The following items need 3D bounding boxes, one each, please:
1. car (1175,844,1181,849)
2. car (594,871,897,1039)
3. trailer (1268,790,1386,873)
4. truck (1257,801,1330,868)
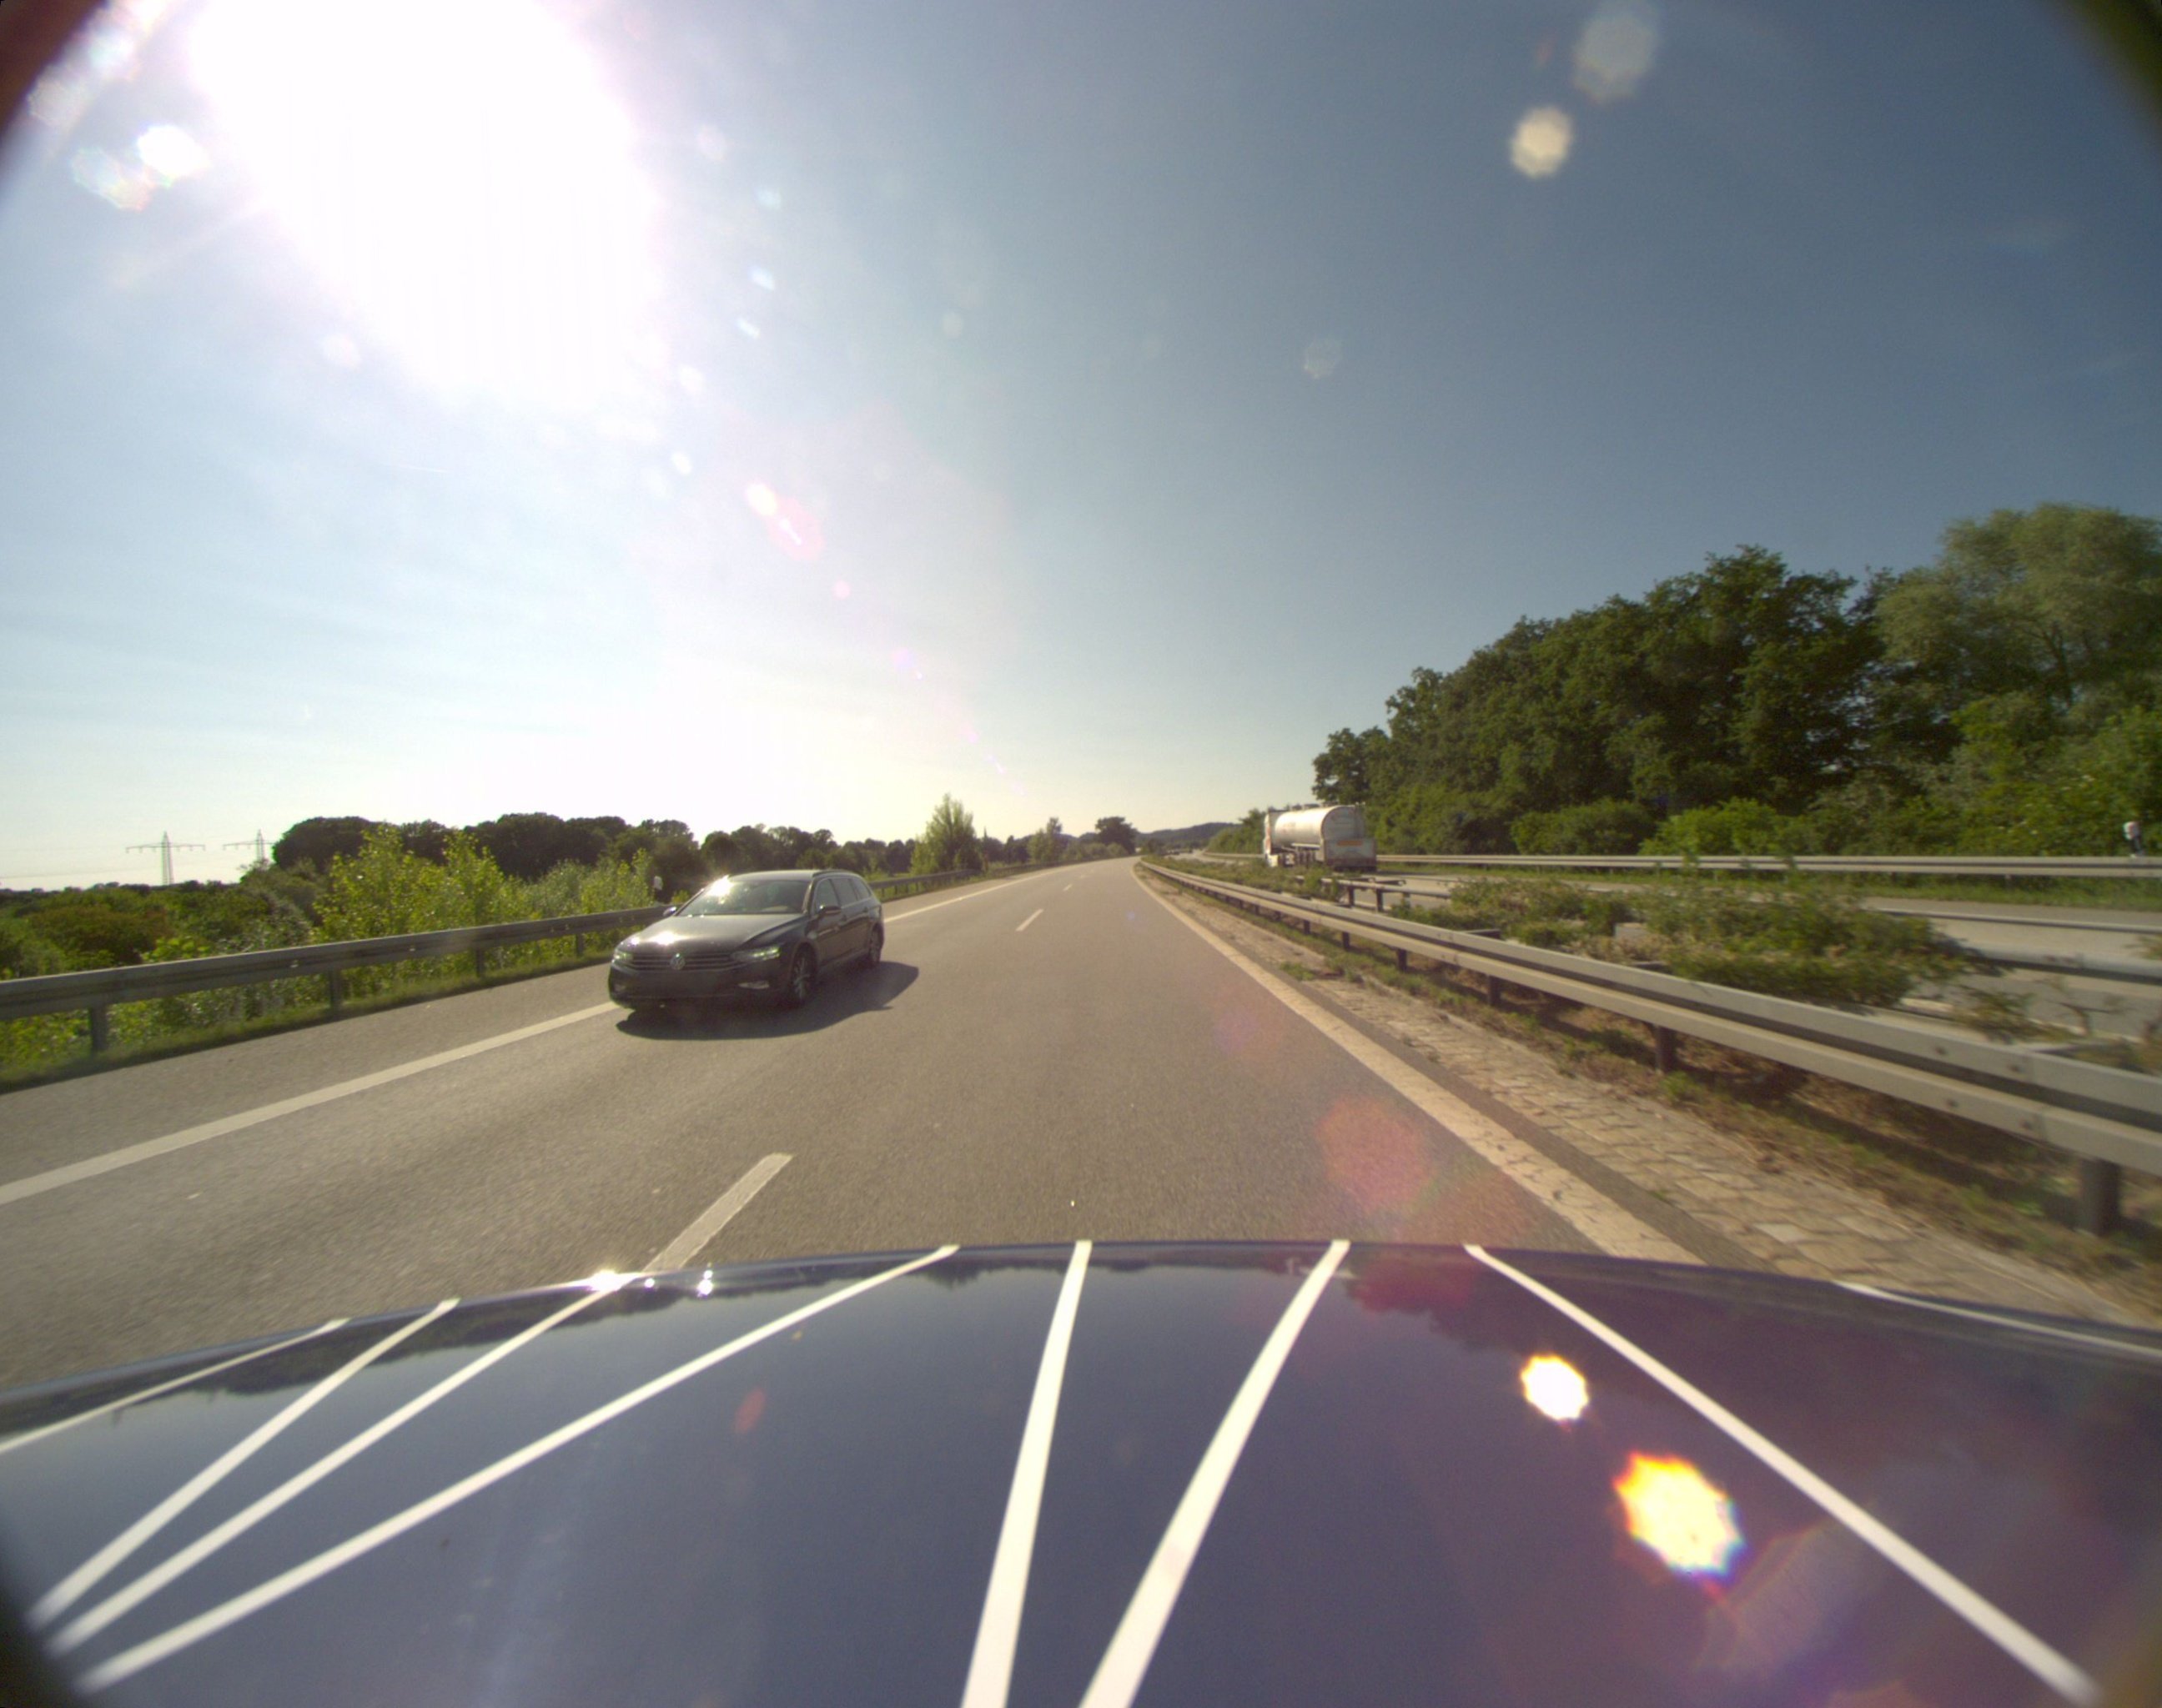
[{"bbox_3d":[28.119,-2.084,220.403,1.732,1.420,3.883,-1,1,9],"label":"car"},{"bbox_3d":[-3.733,1.014,9.457,1.723,1.392,4.413,-2,1,1],"label":"car"},{"bbox_3d":[12.536,-1.073,40.008,2.748,3.705,10.912,-1,0,1],"label":"trailer"},{"bbox_3d":[12.649,-1.107,45.767,2.748,3.705,5.971,-1,1,1],"label":"truck"}]
